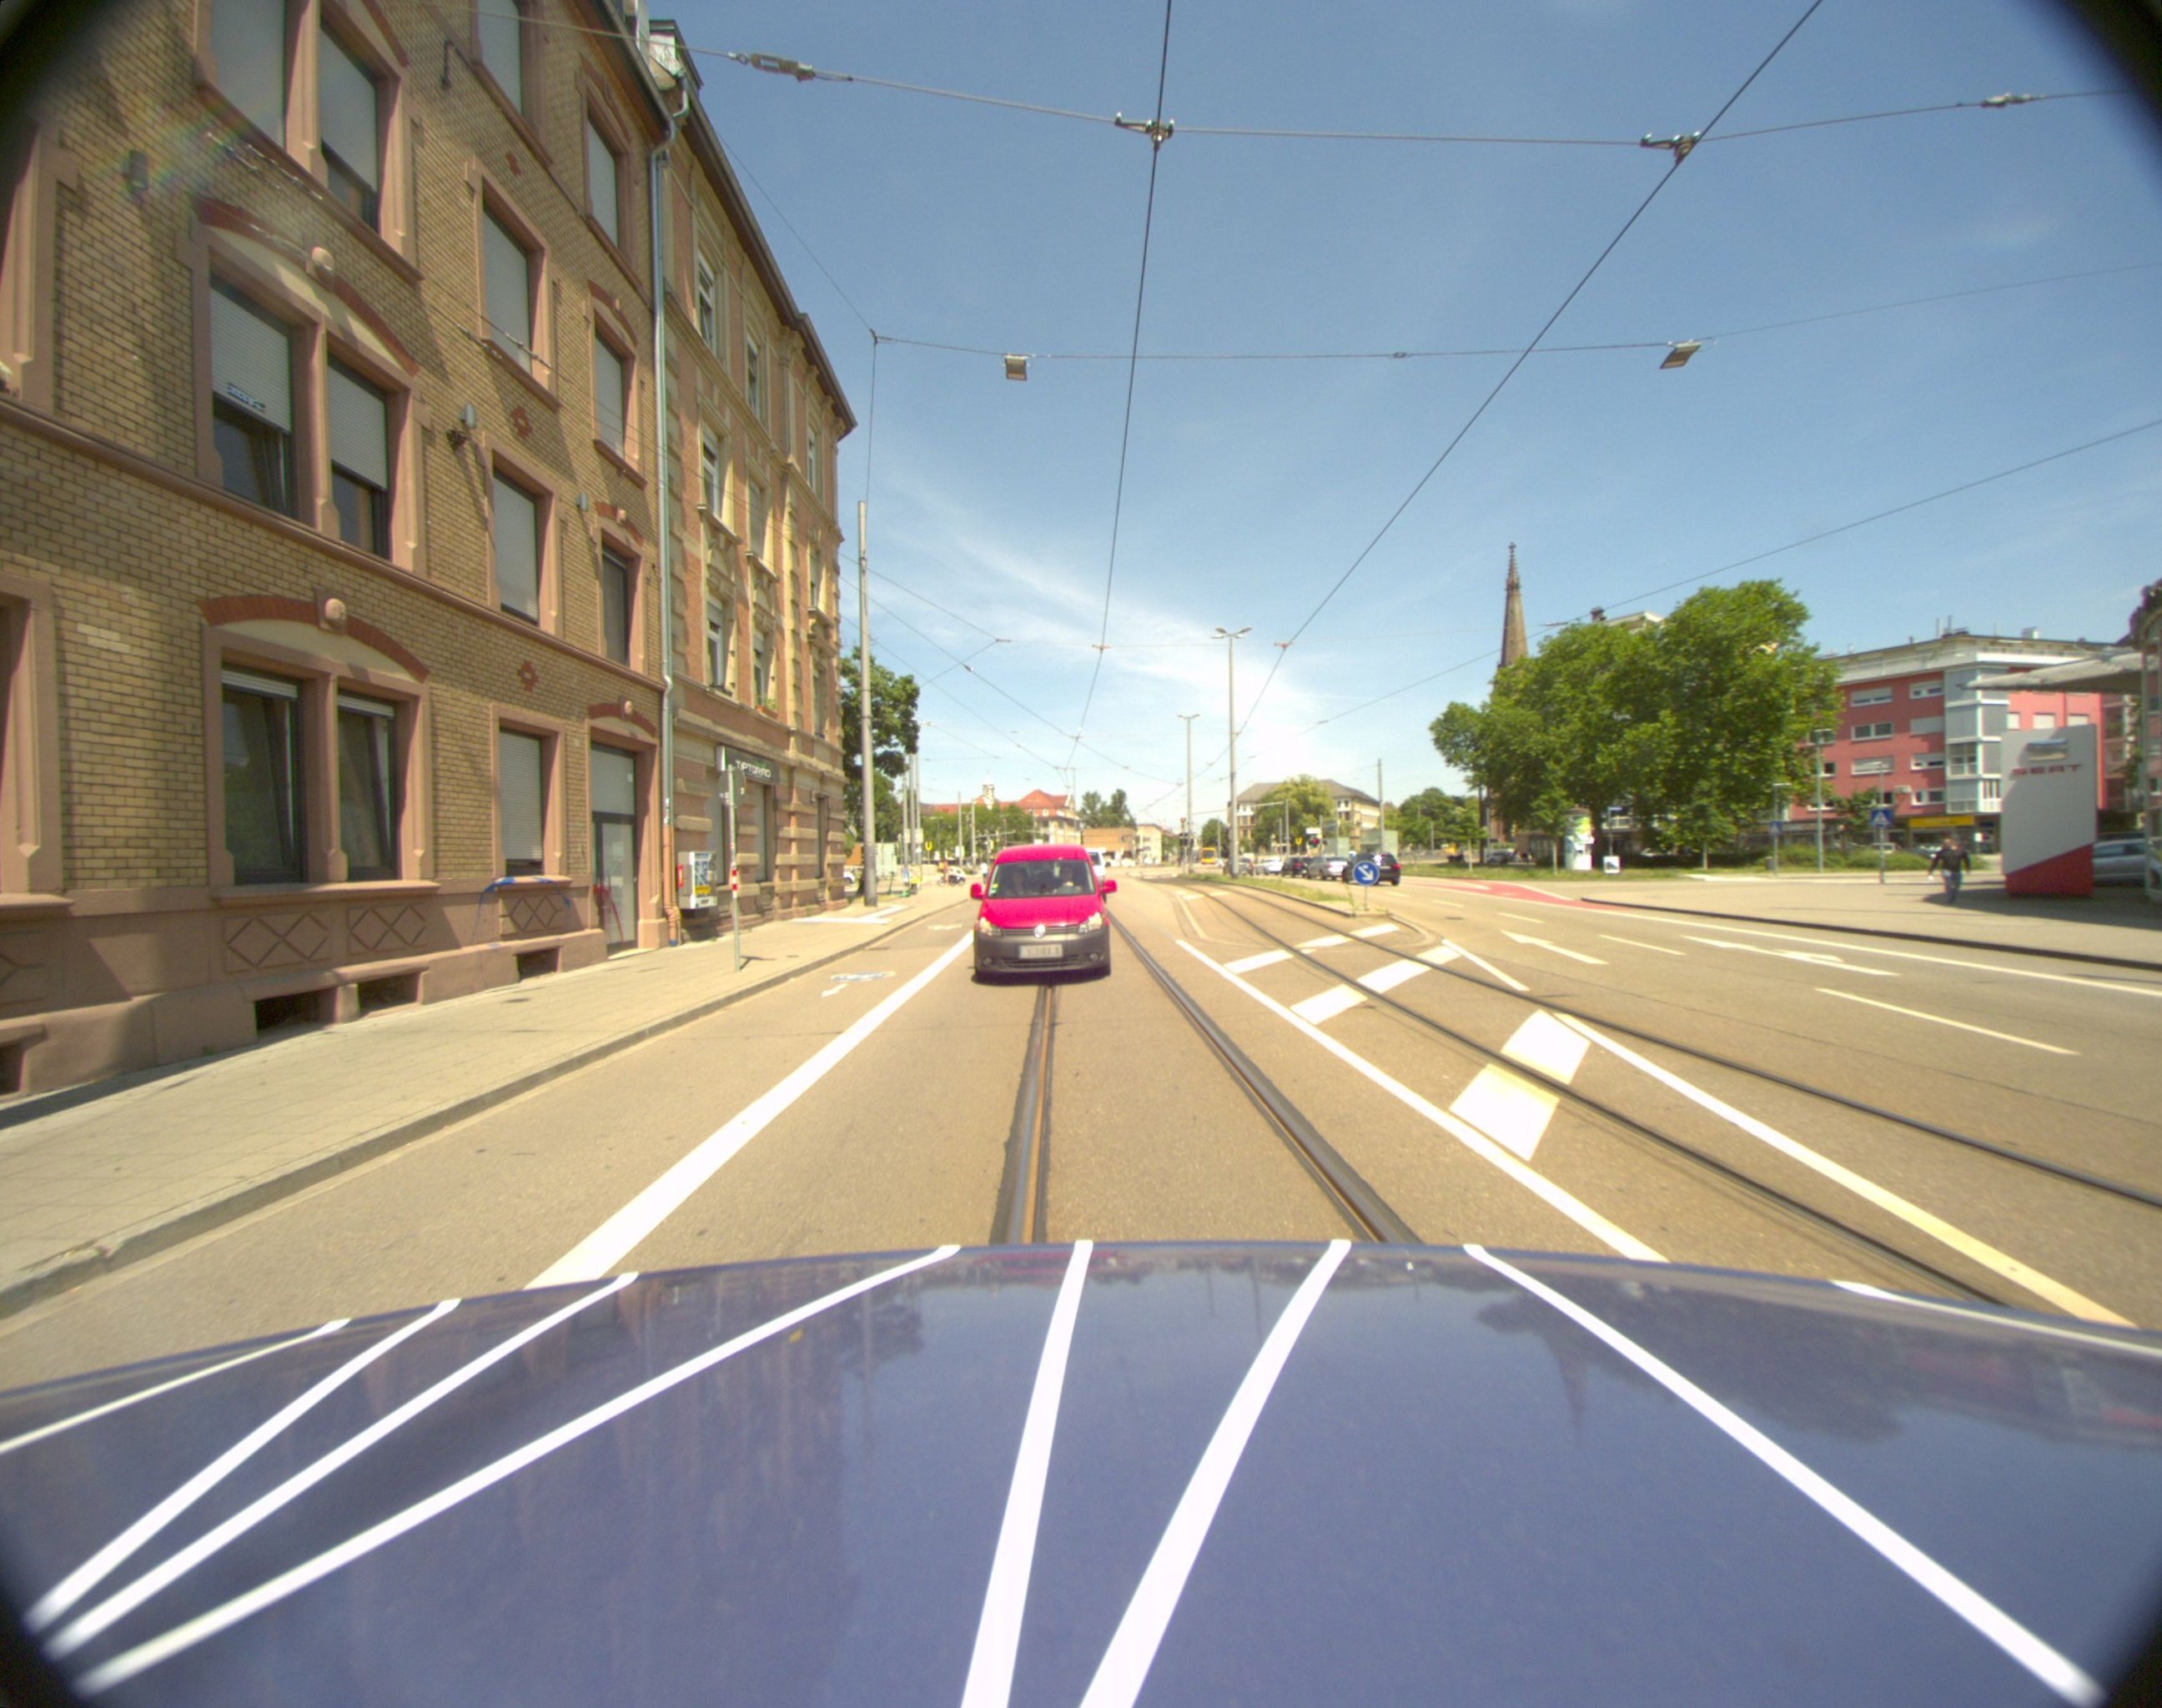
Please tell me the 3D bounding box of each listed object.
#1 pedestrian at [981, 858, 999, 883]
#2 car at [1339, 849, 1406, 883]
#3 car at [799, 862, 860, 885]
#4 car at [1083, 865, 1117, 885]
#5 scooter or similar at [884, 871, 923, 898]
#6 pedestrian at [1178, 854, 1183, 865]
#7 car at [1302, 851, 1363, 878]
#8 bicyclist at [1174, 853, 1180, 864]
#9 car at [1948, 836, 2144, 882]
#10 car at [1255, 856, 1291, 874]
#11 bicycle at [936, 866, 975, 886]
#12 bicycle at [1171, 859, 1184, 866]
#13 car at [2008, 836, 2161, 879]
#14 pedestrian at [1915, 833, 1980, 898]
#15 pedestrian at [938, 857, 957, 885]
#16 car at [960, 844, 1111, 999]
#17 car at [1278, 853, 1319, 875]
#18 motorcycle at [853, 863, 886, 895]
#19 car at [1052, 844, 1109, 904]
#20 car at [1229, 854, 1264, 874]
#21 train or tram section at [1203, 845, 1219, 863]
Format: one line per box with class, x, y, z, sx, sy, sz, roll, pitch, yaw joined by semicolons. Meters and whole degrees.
pedestrian;-6.490;1.165;54.159;0.808;1.769;0.876;-1;0;31
car;14.780;0.583;38.743;1.826;1.617;4.526;0;0;2
car;-19.580;1.514;59.182;4.184;1.595;1.703;-1;0;-39
car;1.345;1.474;54.239;1.572;1.346;3.455;-1;0;-13
scooter or similar;-7.933;1.357;33.888;1.527;1.148;0.713;-1;0;-29
pedestrian;15.248;0.880;116.209;0.657;1.661;0.449;-1;0;-16
car;15.240;0.590;46.379;1.999;1.521;5.130;0;0;-1
bicyclist;14.831;0.675;117.314;0.813;1.678;0.528;-1;0;-5
car;32.769;0.185;25.934;1.505;1.448;4.045;-1;0;-36
car;15.145;0.846;60.149;1.711;1.291;4.202;0;0;-1
bicycle;-8.028;1.396;48.766;2.225;1.243;1.096;-1;0;-45
bicycle;14.848;1.354;117.245;1.906;0.973;0.528;-1;0;-5
car;36.337;0.120;26.893;1.614;1.412;4.179;-1;0;-25
pedestrian;22.351;0.292;19.620;0.729;1.632;0.820;-1;0;3
pedestrian;-8.483;1.064;48.261;0.826;1.765;0.812;-3;1;-45
car;-0.571;0.818;11.144;1.755;1.801;4.097;-2;0;-1
car;14.874;0.650;52.170;1.675;1.453;3.903;-1;0;-1
motorcycle;-9.740;1.144;35.135;0.766;1.354;2.595;-1;0;0
car;0.009;0.681;27.594;1.874;1.954;3.823;-2;0;1
car;12.775;0.784;58.837;1.848;1.471;4.330;0;-1;0
train or tram section;25.102;-0.010;147.110;2.840;3.194;9.116;-1;0;9
